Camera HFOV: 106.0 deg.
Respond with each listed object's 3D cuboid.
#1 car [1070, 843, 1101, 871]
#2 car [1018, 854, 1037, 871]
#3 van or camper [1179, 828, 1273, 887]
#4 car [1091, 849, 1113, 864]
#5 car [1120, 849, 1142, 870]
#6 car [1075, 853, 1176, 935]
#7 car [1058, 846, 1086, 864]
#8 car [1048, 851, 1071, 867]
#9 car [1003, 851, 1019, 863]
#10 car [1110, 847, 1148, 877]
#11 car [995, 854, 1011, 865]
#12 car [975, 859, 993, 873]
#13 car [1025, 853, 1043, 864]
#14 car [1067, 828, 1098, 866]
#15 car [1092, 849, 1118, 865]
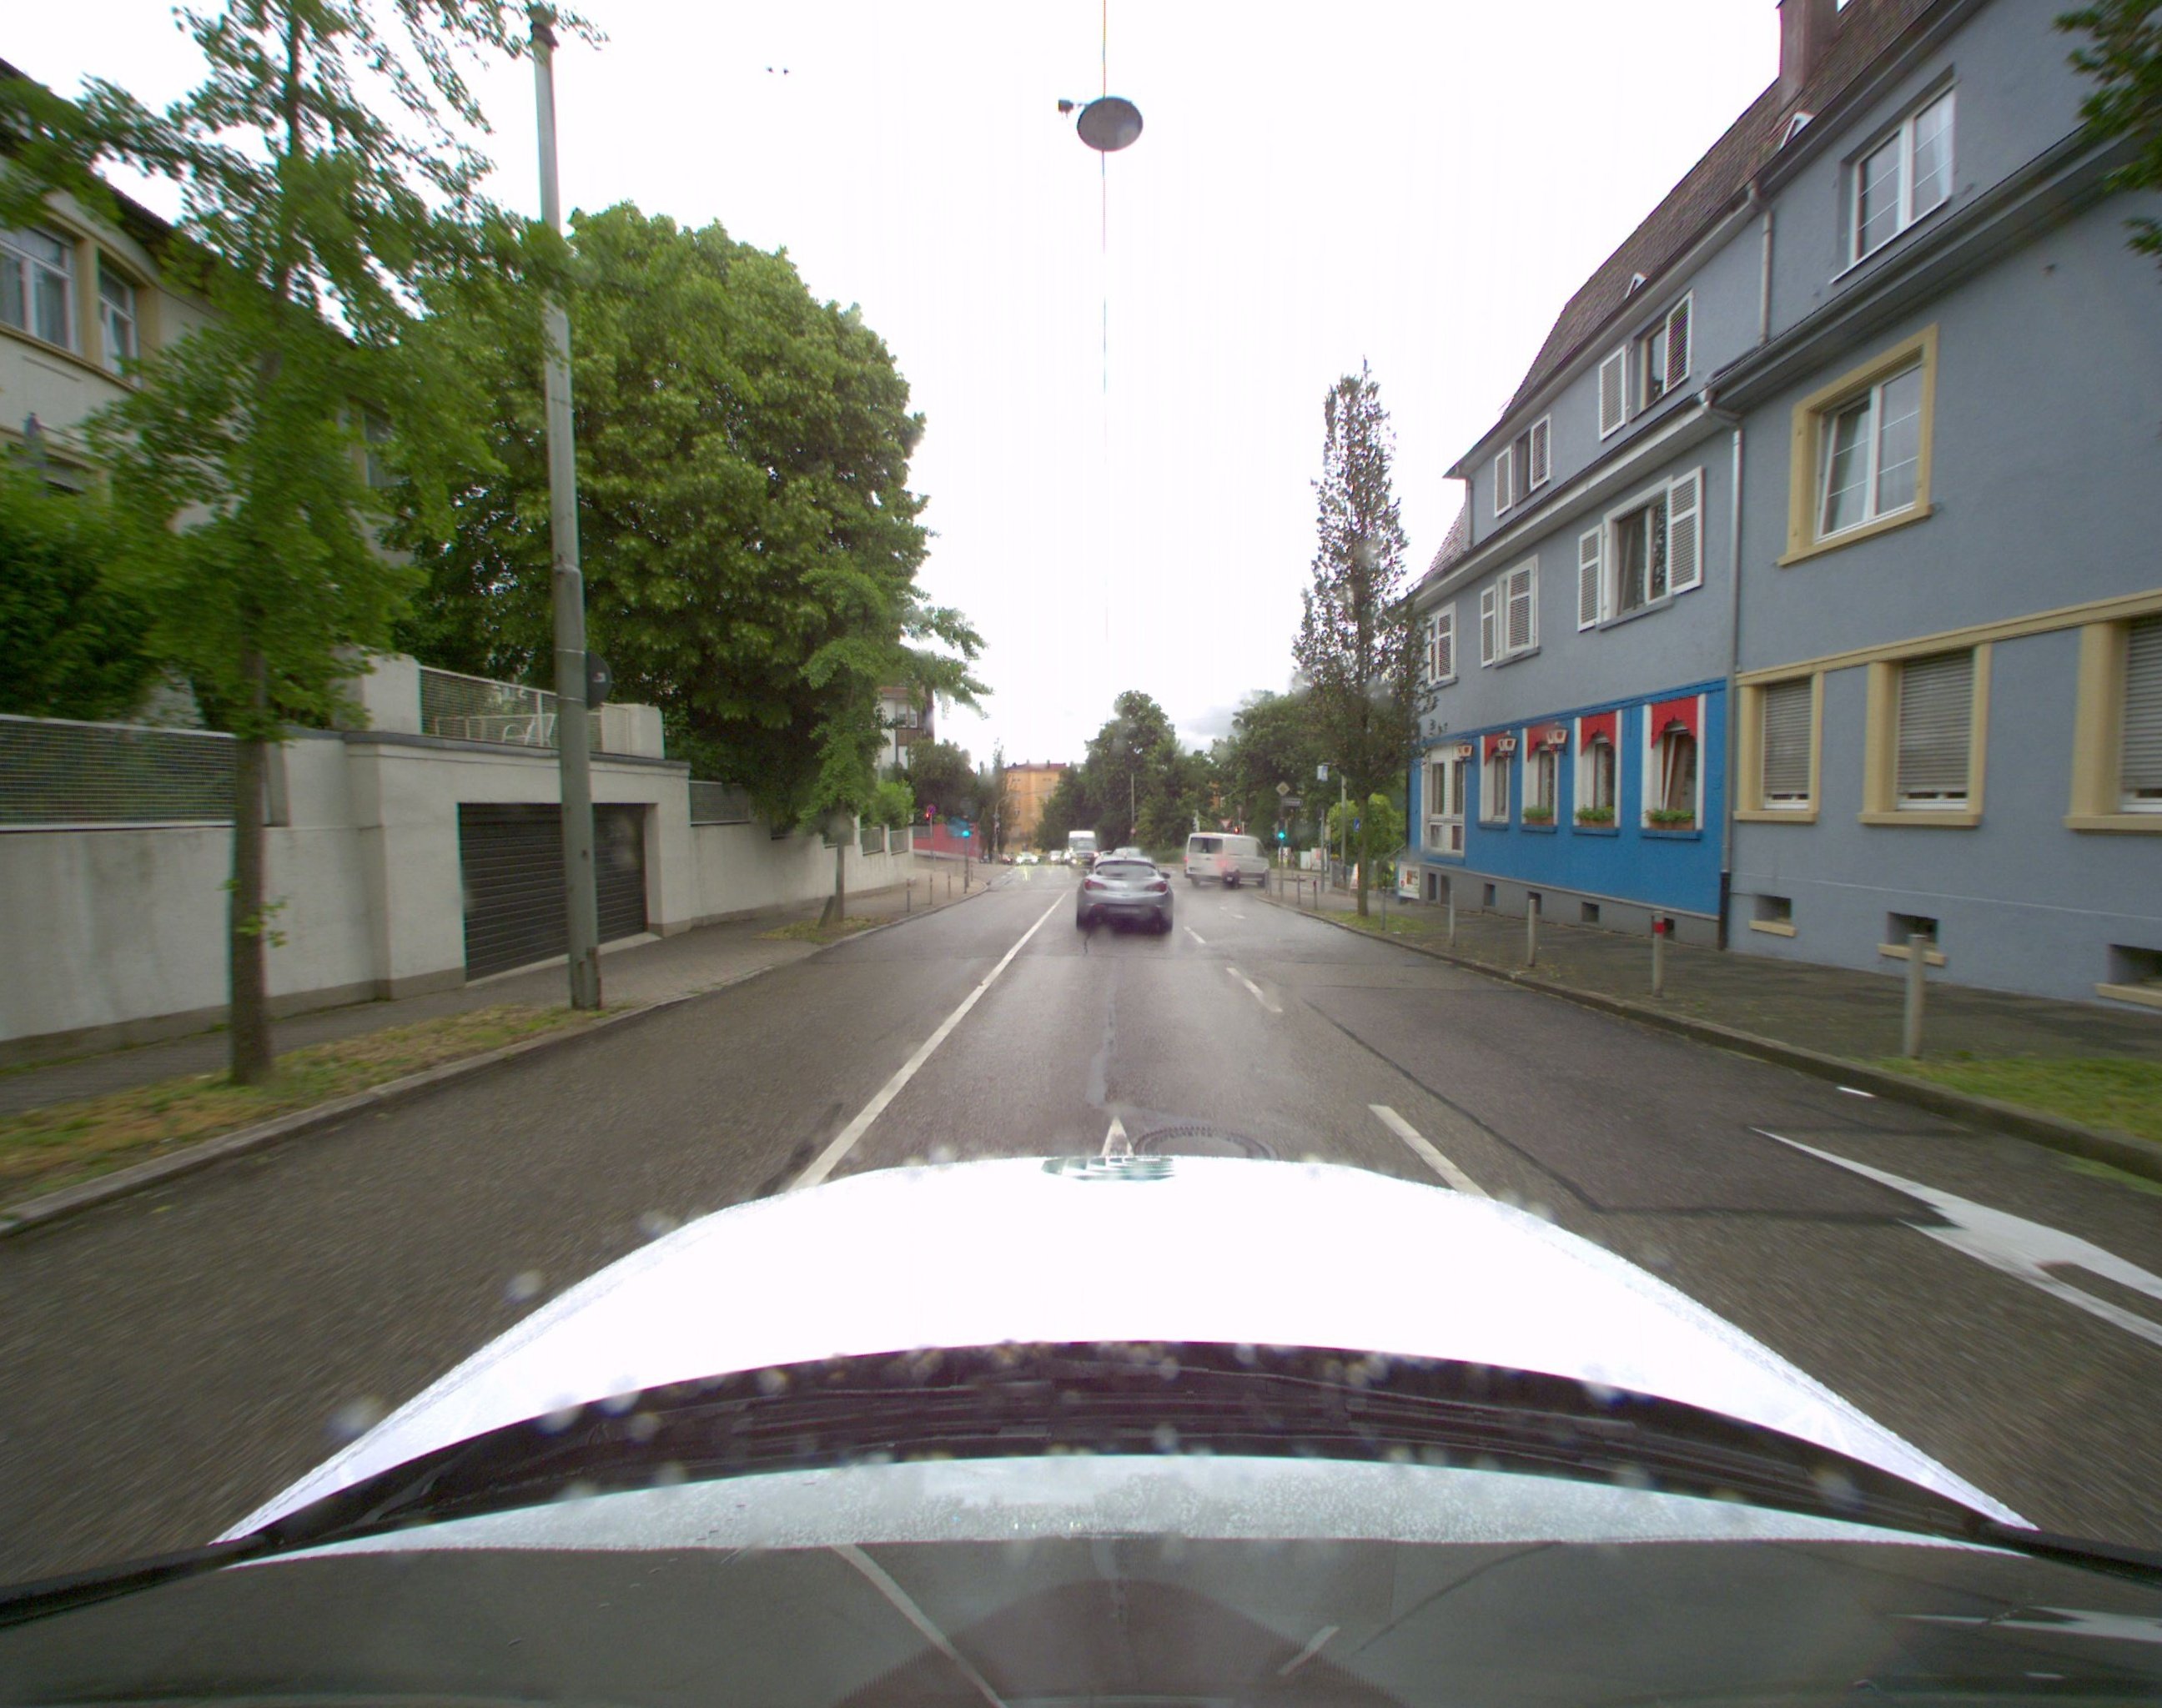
[{"bbox_3d":[0.252,0.156,50.455,1.816,1.652,4.345,0,1,-1],"label":"car"},{"bbox_3d":[-5.455,0.838,83.155,1.849,1.486,5.361,-1,1,-4],"label":"car"},{"bbox_3d":[6.580,0.156,36.404,2.084,2.325,5.451,5,2,32],"label":"van or camper"},{"bbox_3d":[2.074,0.244,81.374,1.620,1.486,3.424,-1,-1,-9],"label":"car"},{"bbox_3d":[3.621,0.373,59.413,1.379,1.411,3.455,-2,0,-1],"label":"car"},{"bbox_3d":[0.866,0.722,16.693,1.808,1.429,4.002,0,1,2],"label":"car"},{"bbox_3d":[-0.818,0.114,72.385,1.874,1.575,4.572,-1,0,-9],"label":"car"},{"bbox_3d":[-2.225,0.539,82.281,1.774,1.497,4.248,1,-1,-10],"label":"car"},{"bbox_3d":[-11.103,0.548,128.706,1.785,1.855,3.980,0,-1,-14],"label":"car"},{"bbox_3d":[2.382,0.430,41.132,1.770,1.430,3.786,-1,-1,1],"label":"car"},{"bbox_3d":[-11.518,0.767,120.178,1.846,1.584,4.262,2,-1,-11],"label":"car"},{"bbox_3d":[-11.846,1.467,99.234,1.815,1.612,3.985,1,-1,-11],"label":"car"},{"bbox_3d":[-7.522,0.688,129.323,1.820,1.467,3.976,-5,0,-17],"label":"car"},{"bbox_3d":[0.056,-0.469,58.956,2.111,2.545,5.536,-1,0,-1],"label":"car"},{"bbox_3d":[2.613,0.336,89.886,1.818,1.495,3.981,-6,0,-14],"label":"car"}]
